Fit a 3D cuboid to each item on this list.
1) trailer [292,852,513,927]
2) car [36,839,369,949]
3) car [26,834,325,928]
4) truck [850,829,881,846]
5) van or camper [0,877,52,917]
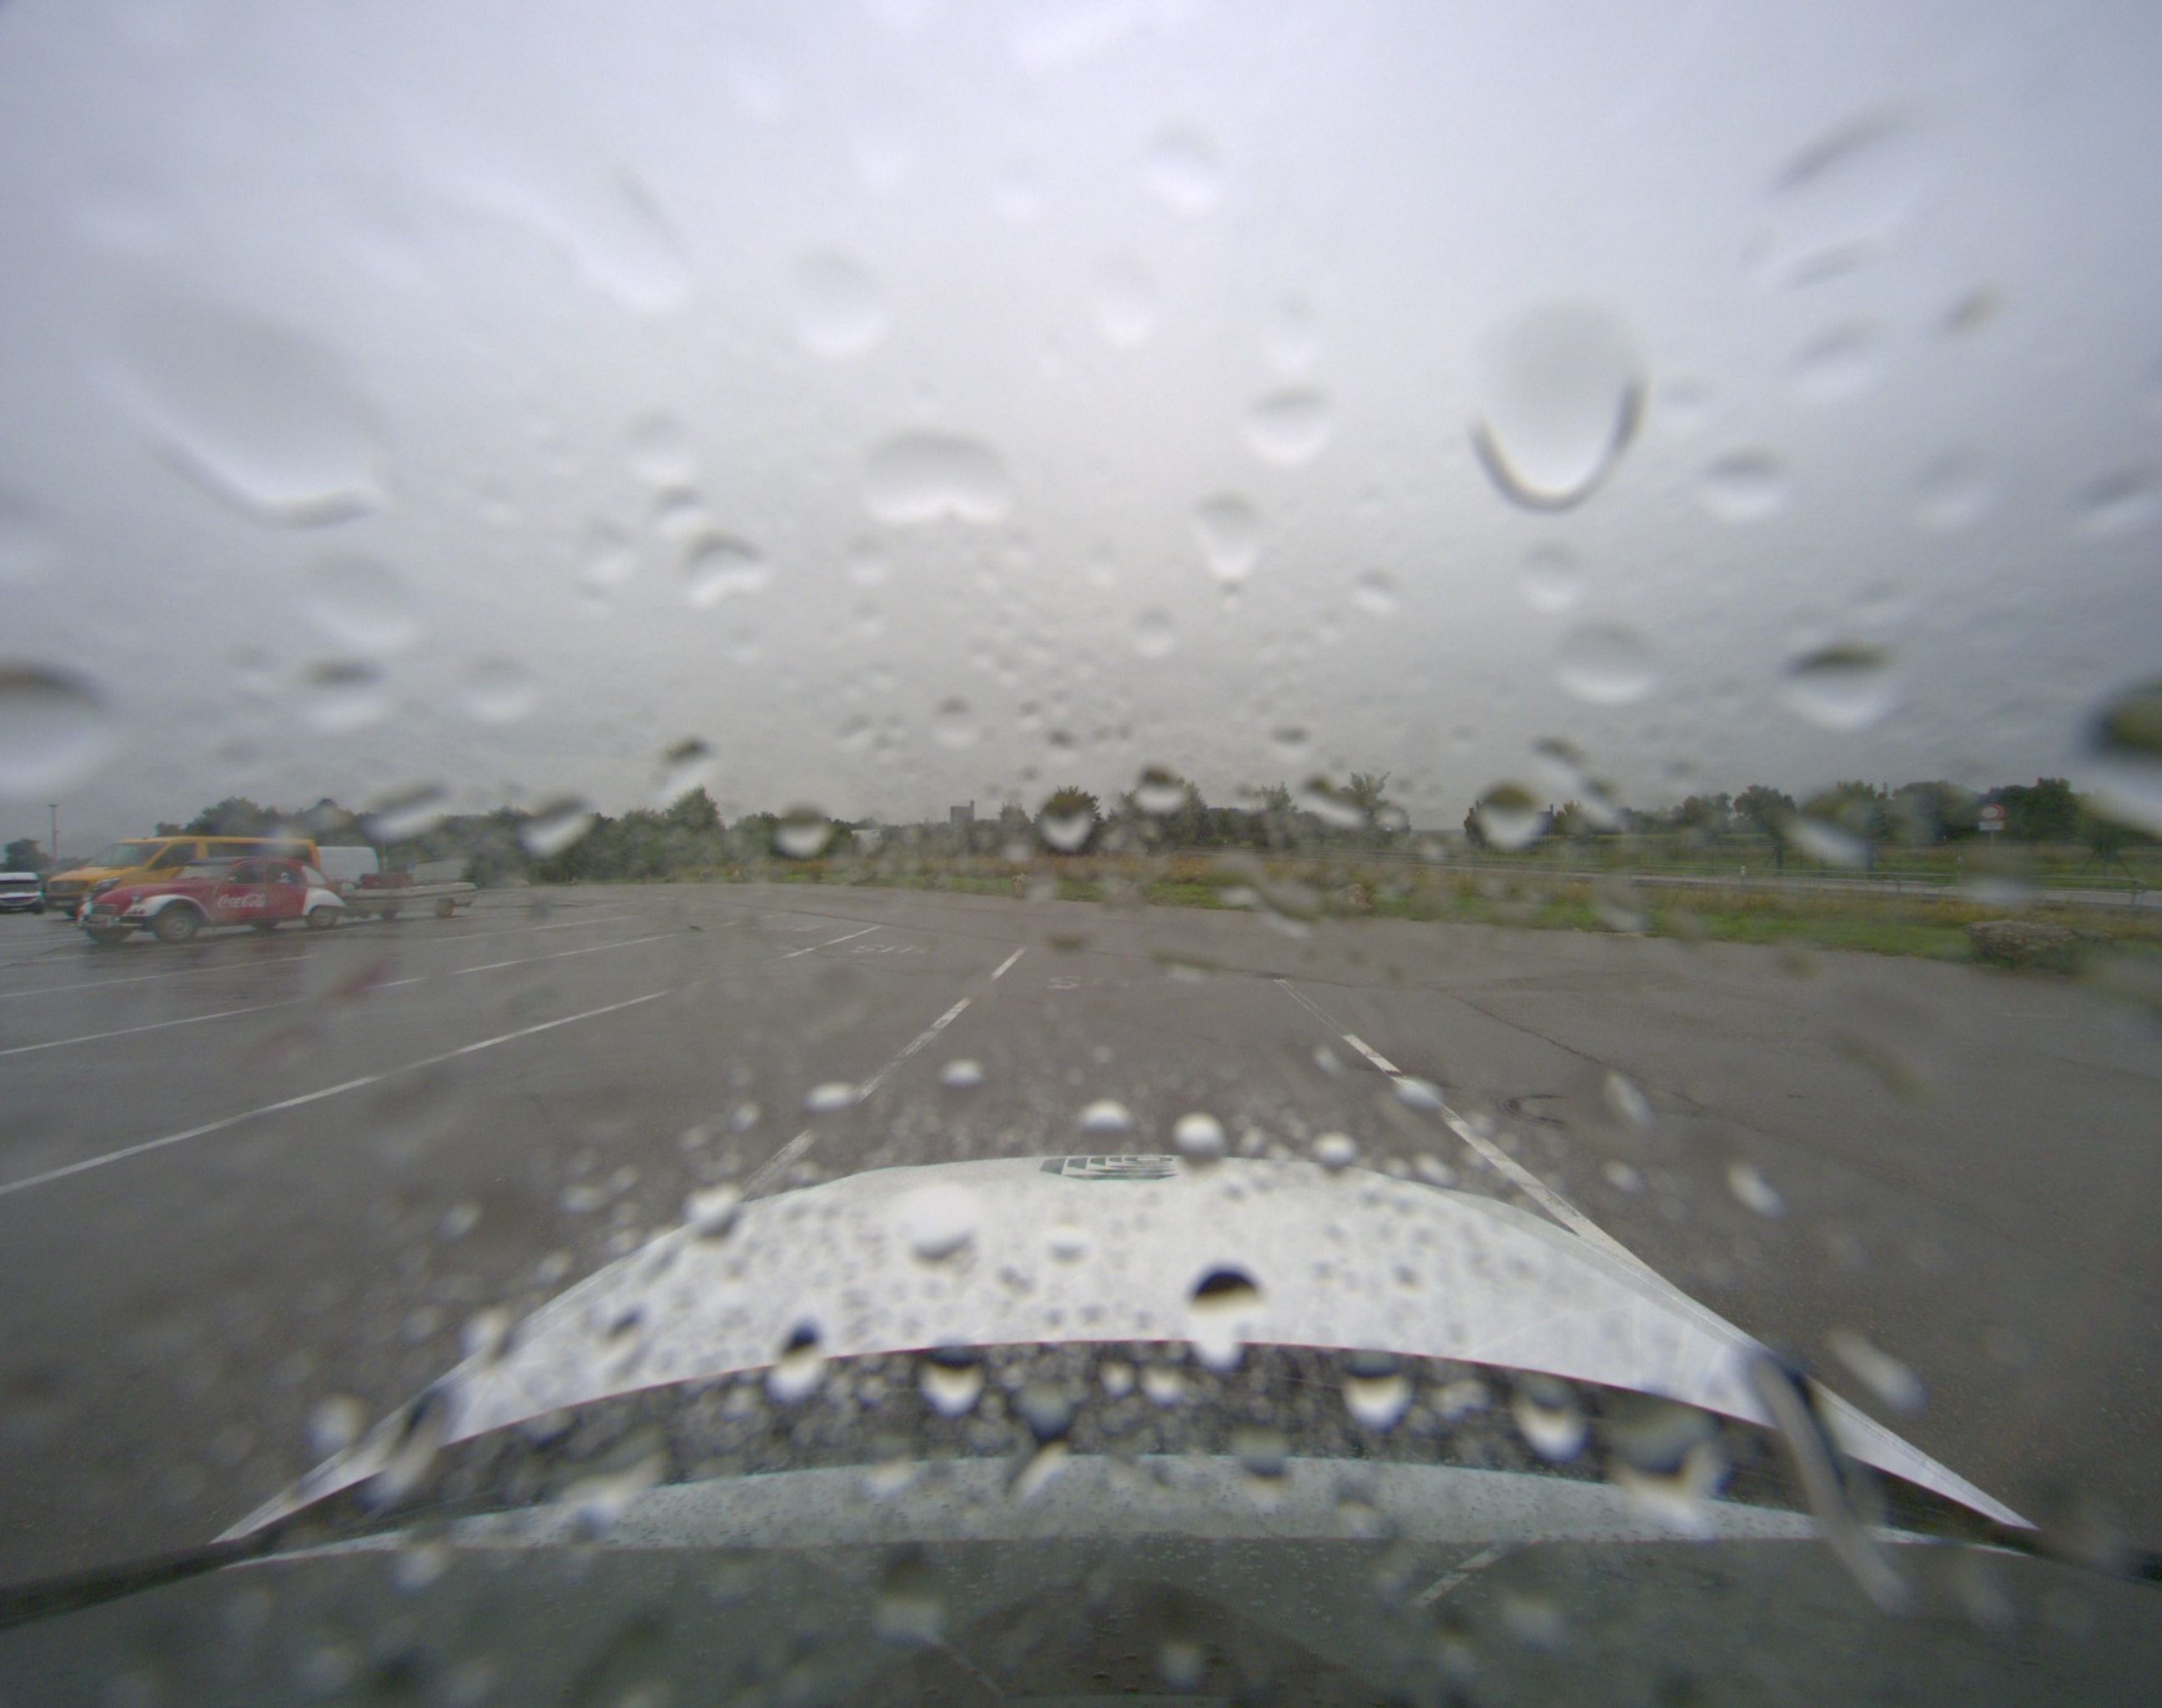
[{"bbox_3d":[-16.098,0.760,19.632,1.687,1.532,4.006,-2,0,5],"label":"trailer"},{"bbox_3d":[-16.452,0.669,15.618,1.813,1.777,4.006,-2,0,5],"label":"car"},{"bbox_3d":[-26.593,0.729,24.412,1.986,2.380,6.029,-3,0,2],"label":"car"},{"bbox_3d":[-43.878,-3.385,165.928,2.763,3.391,7.970,0,0,-42],"label":"truck"},{"bbox_3d":[-62.191,2.493,47.752,3.948,2.166,2.013,-2,-1,35],"label":"van or camper"}]
